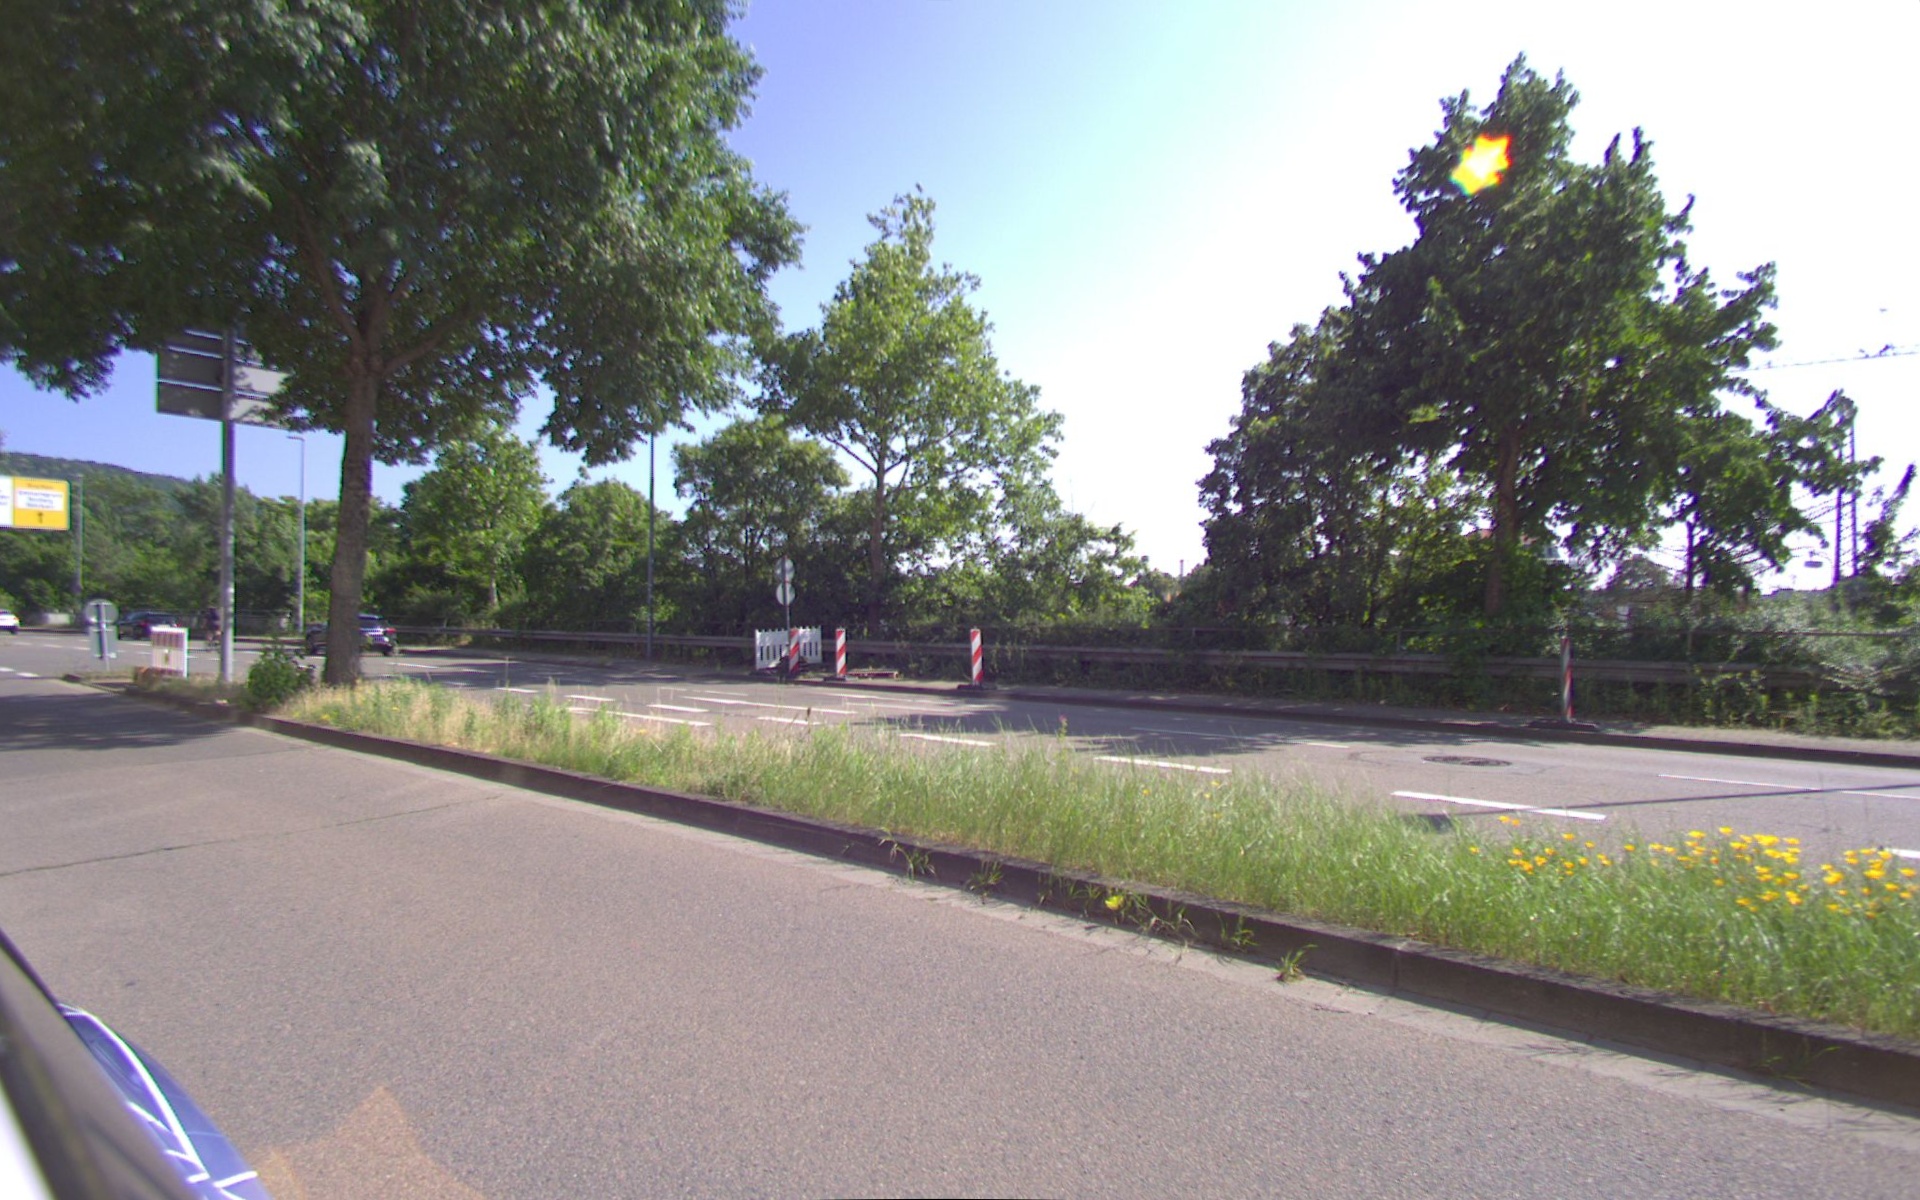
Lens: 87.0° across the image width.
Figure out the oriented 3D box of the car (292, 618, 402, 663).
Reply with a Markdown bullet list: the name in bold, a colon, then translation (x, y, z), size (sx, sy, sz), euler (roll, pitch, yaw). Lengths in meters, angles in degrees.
- **car**: translation (-22.591, 1.468, 37.242), size (4.693, 1.540, 1.974), euler (-1, -3, 39)

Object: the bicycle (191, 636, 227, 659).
- **bicycle**: translation (-27.609, 1.738, 37.194), size (1.801, 0.839, 0.490), euler (-1, -2, 34)

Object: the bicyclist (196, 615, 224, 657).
- **bicyclist**: translation (-27.593, 1.318, 37.211), size (0.776, 1.545, 0.568), euler (-1, -2, 34)

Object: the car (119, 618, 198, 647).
- **car**: translation (-41.171, 1.668, 51.947), size (4.606, 1.422, 1.976), euler (-1, -2, 36)

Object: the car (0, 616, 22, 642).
- **car**: translation (-56.146, 1.659, 58.513), size (4.193, 1.464, 1.849), euler (-1, -2, 34)
